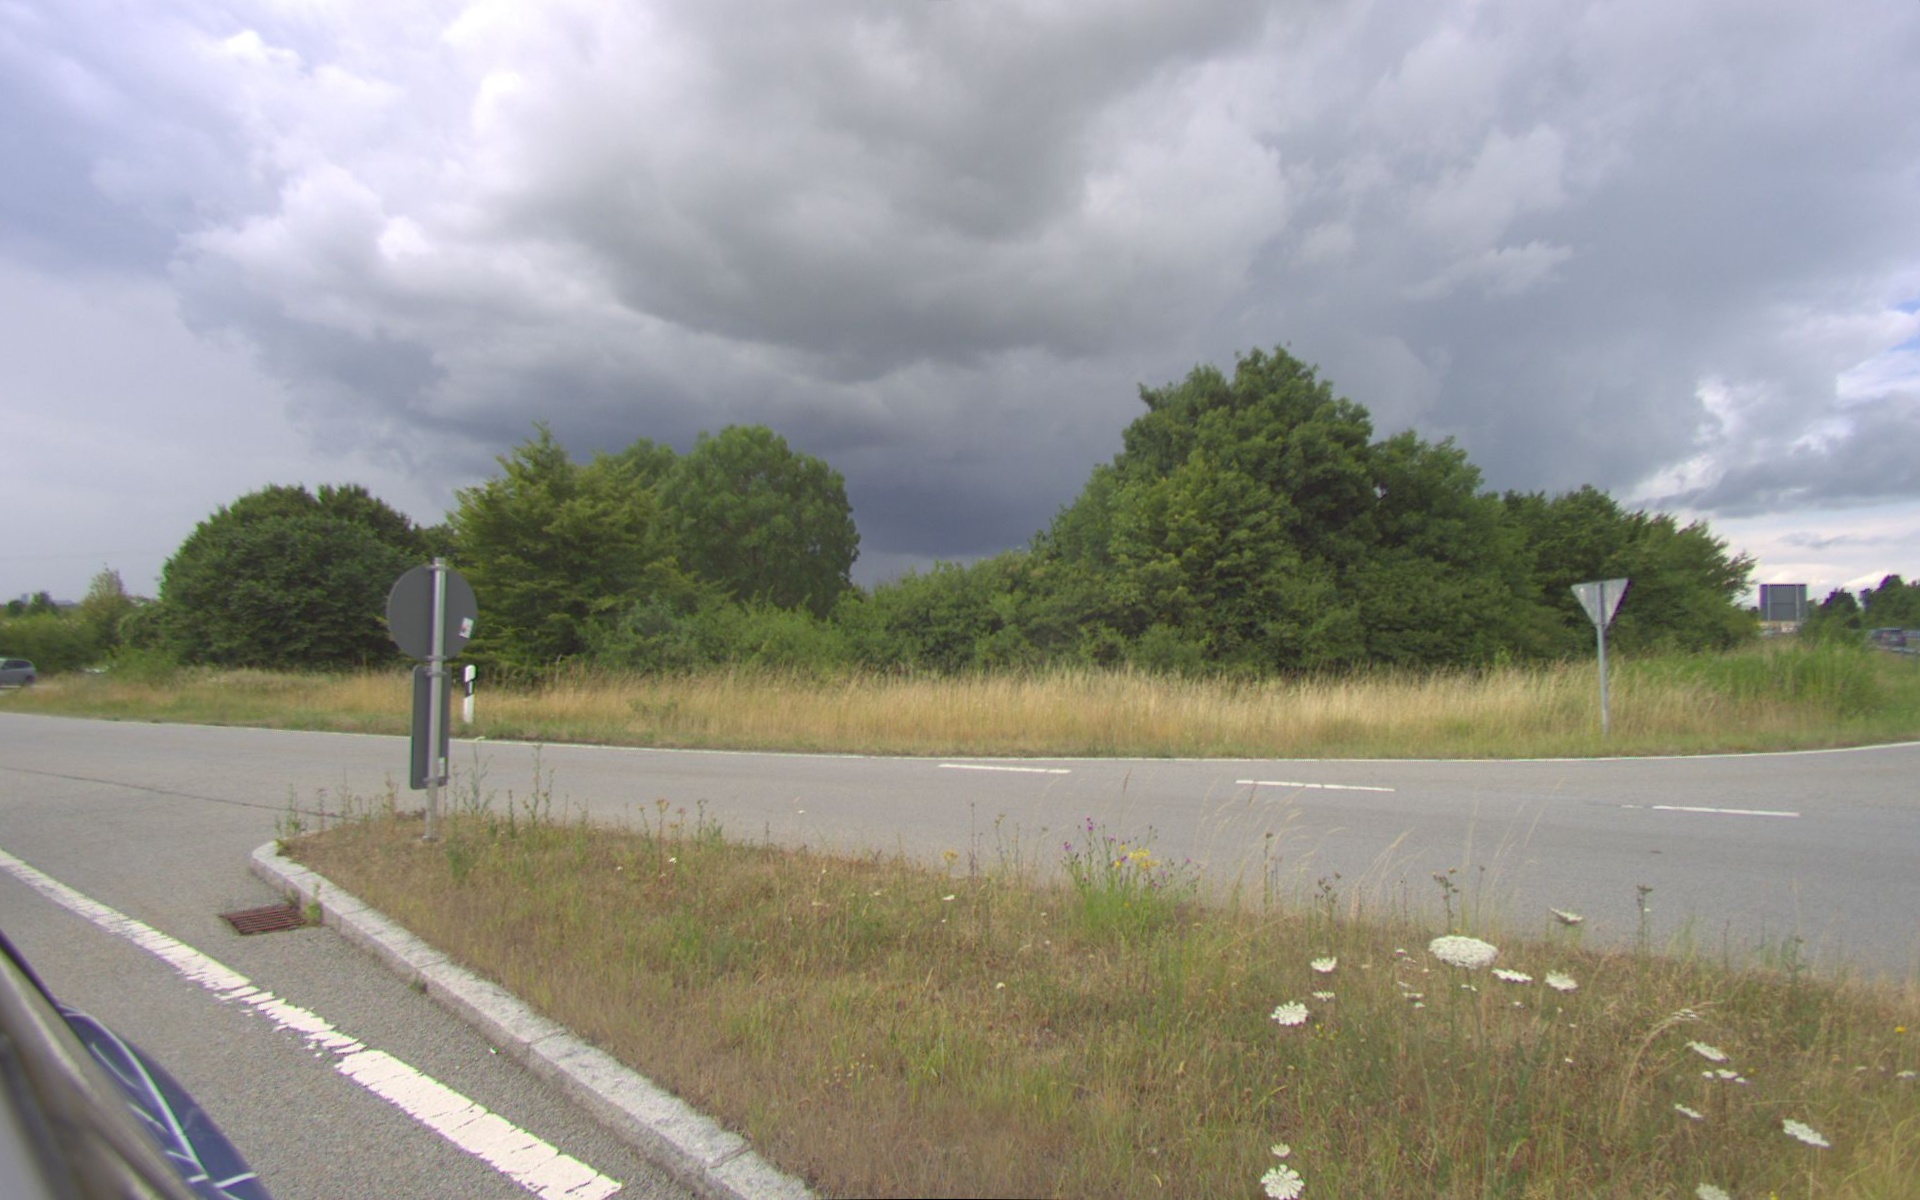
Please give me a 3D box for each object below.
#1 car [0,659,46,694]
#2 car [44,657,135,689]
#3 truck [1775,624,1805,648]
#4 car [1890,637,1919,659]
[{"bbox_3d":[-52.879,4.173,55.072,1.968,1.733,5.217,3,-3,-8],"label":"car"},{"bbox_3d":[-54.733,4.569,63.771,1.967,1.733,5.220,3,-3,-12],"label":"car"},{"bbox_3d":[95.489,4.183,116.452,2.060,2.724,5.974,-1,-3,34],"label":"truck"},{"bbox_3d":[74.117,3.748,78.638,1.994,1.614,4.175,-2,-4,33],"label":"car"}]
